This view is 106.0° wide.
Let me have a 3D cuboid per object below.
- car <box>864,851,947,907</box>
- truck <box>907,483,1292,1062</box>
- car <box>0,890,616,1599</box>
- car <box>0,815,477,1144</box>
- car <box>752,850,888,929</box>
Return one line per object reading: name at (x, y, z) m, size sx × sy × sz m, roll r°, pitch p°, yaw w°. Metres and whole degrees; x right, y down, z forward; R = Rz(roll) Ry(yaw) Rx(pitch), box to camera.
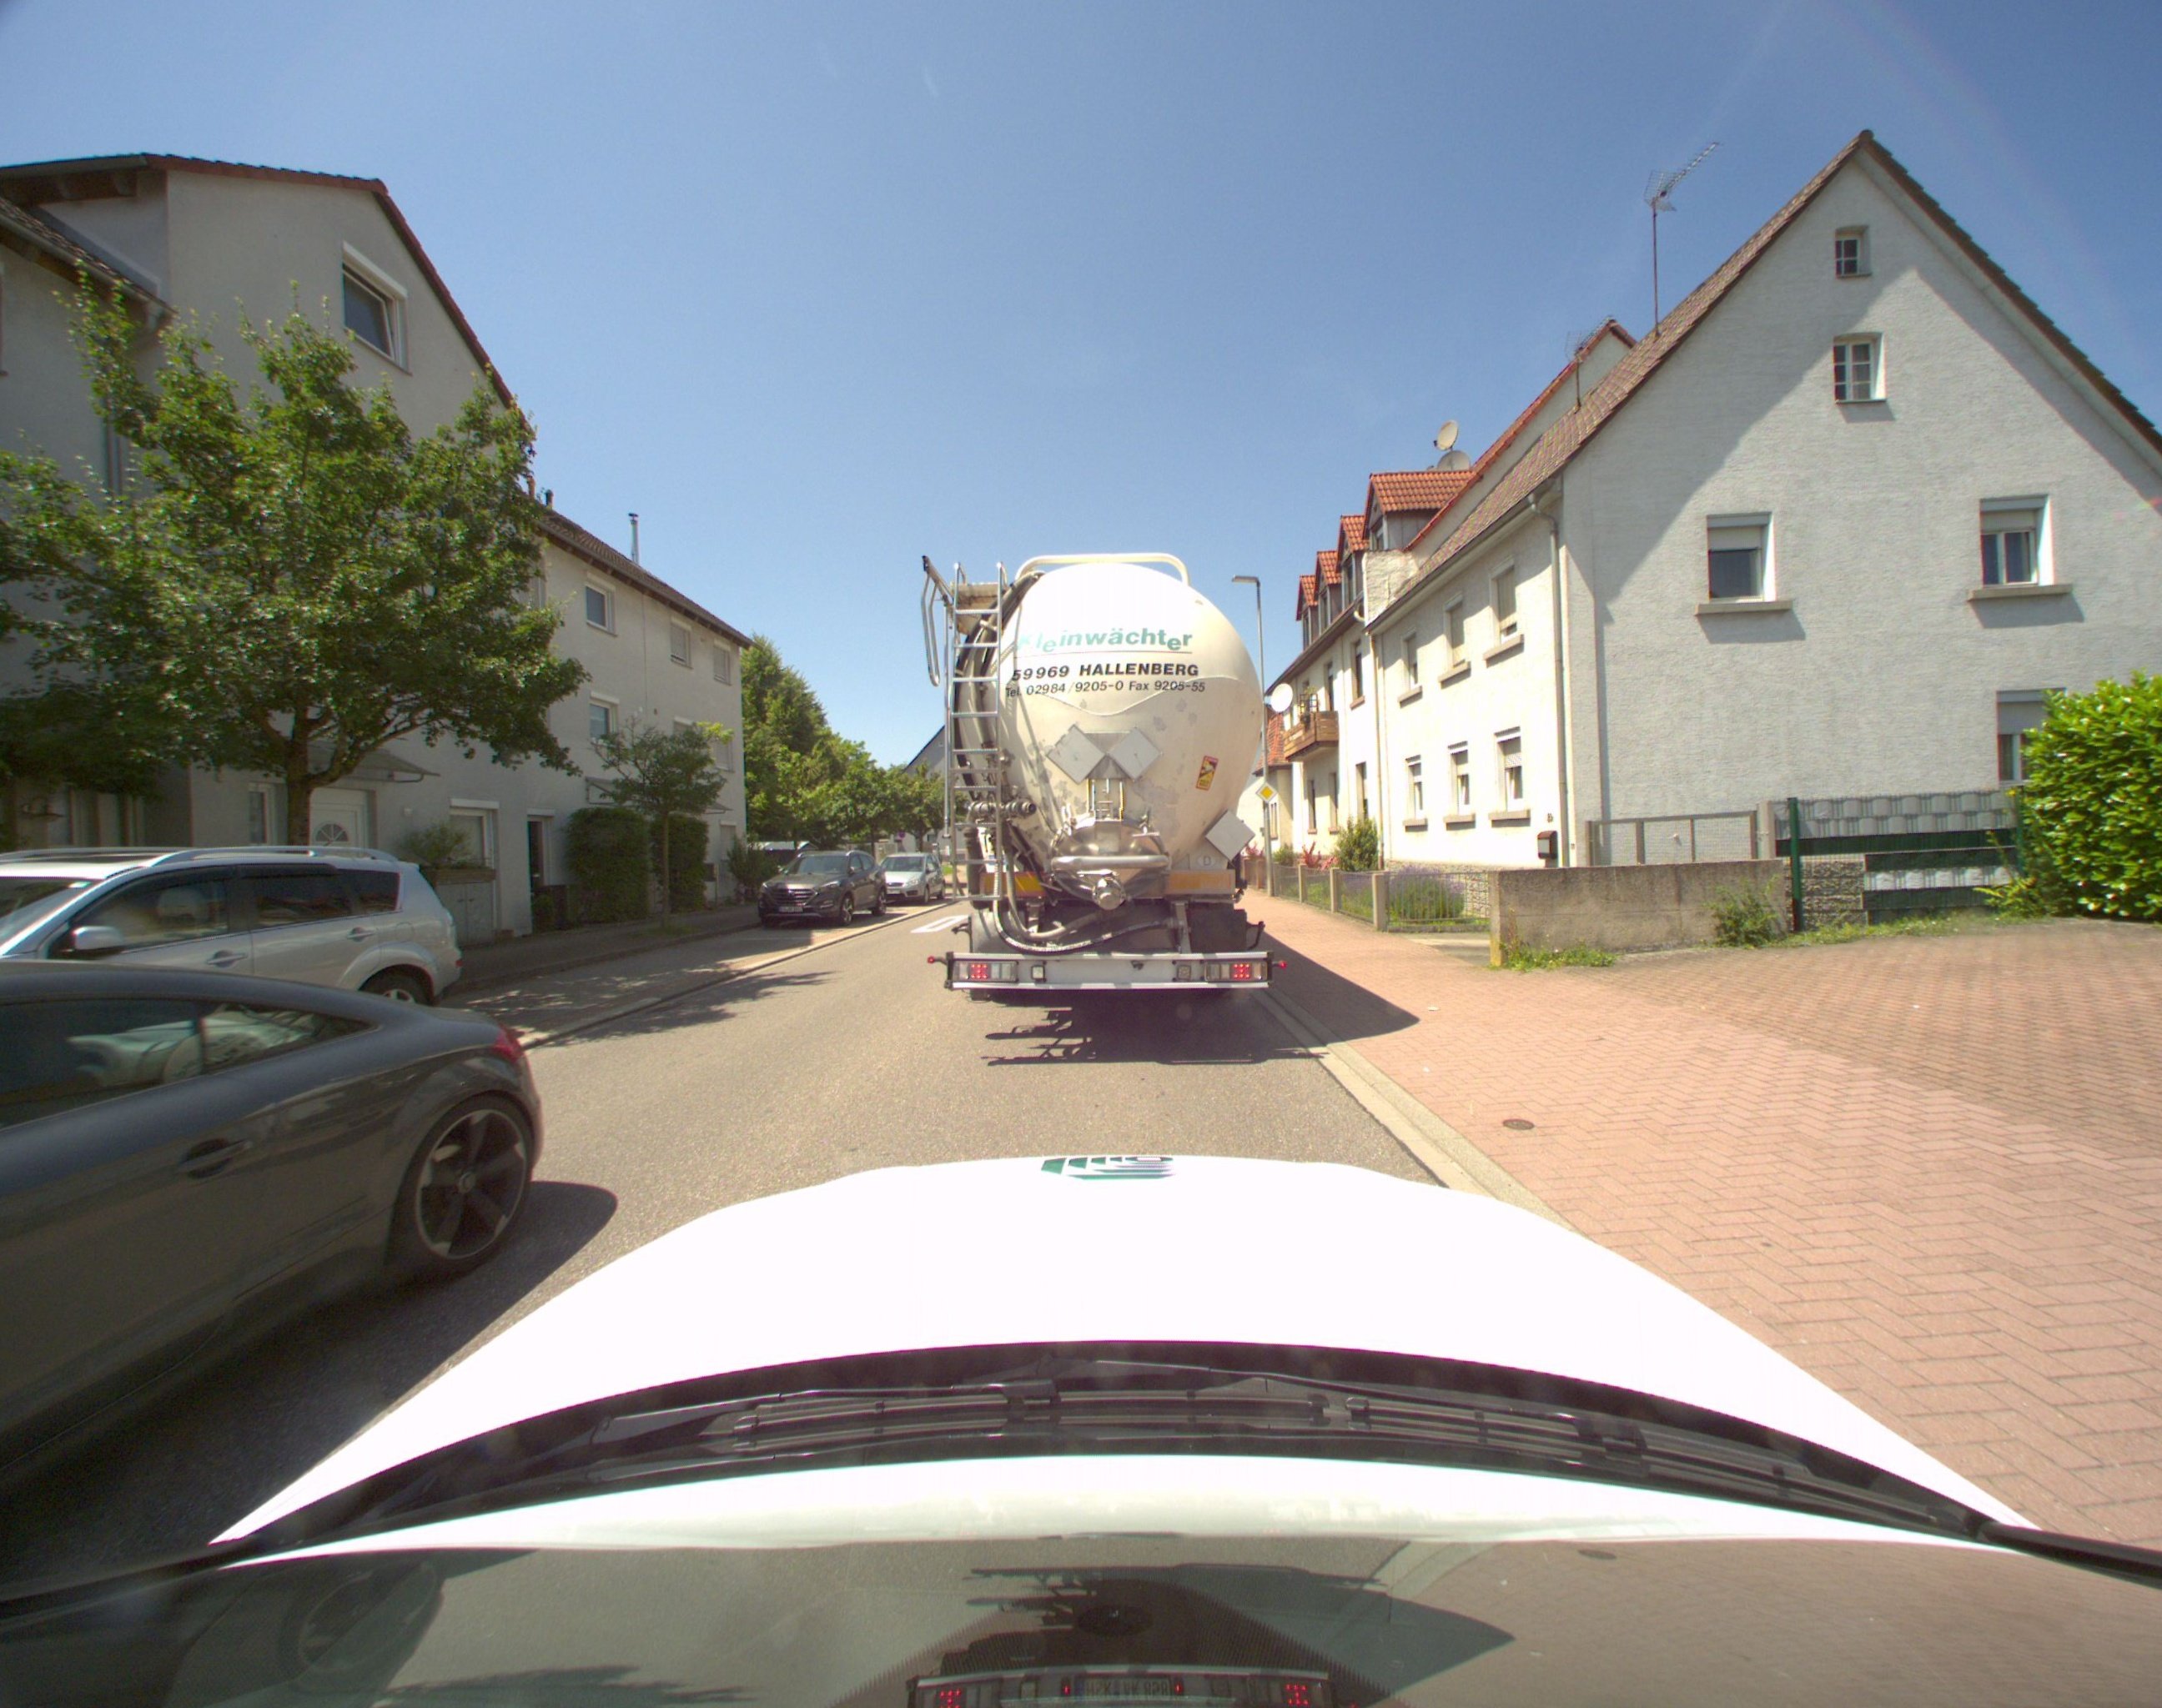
car at (-5.442, 0.725, 25.674) m, size 1.691 × 1.580 × 3.839 m, roll -1°, pitch 0°, yaw 1°
truck at (0.299, -0.598, 10.509) m, size 2.631 × 4.015 × 9.566 m, roll -1°, pitch 0°, yaw 2°
car at (-3.142, 0.930, 1.898) m, size 1.700 × 1.370 × 3.870 m, roll -4°, pitch 0°, yaw 2°
car at (-6.386, 0.649, 5.136) m, size 1.700 × 1.686 × 4.526 m, roll -1°, pitch 0°, yaw 1°
car at (-5.886, 0.727, 18.893) m, size 1.685 × 1.620 × 4.000 m, roll -1°, pitch 0°, yaw 2°
